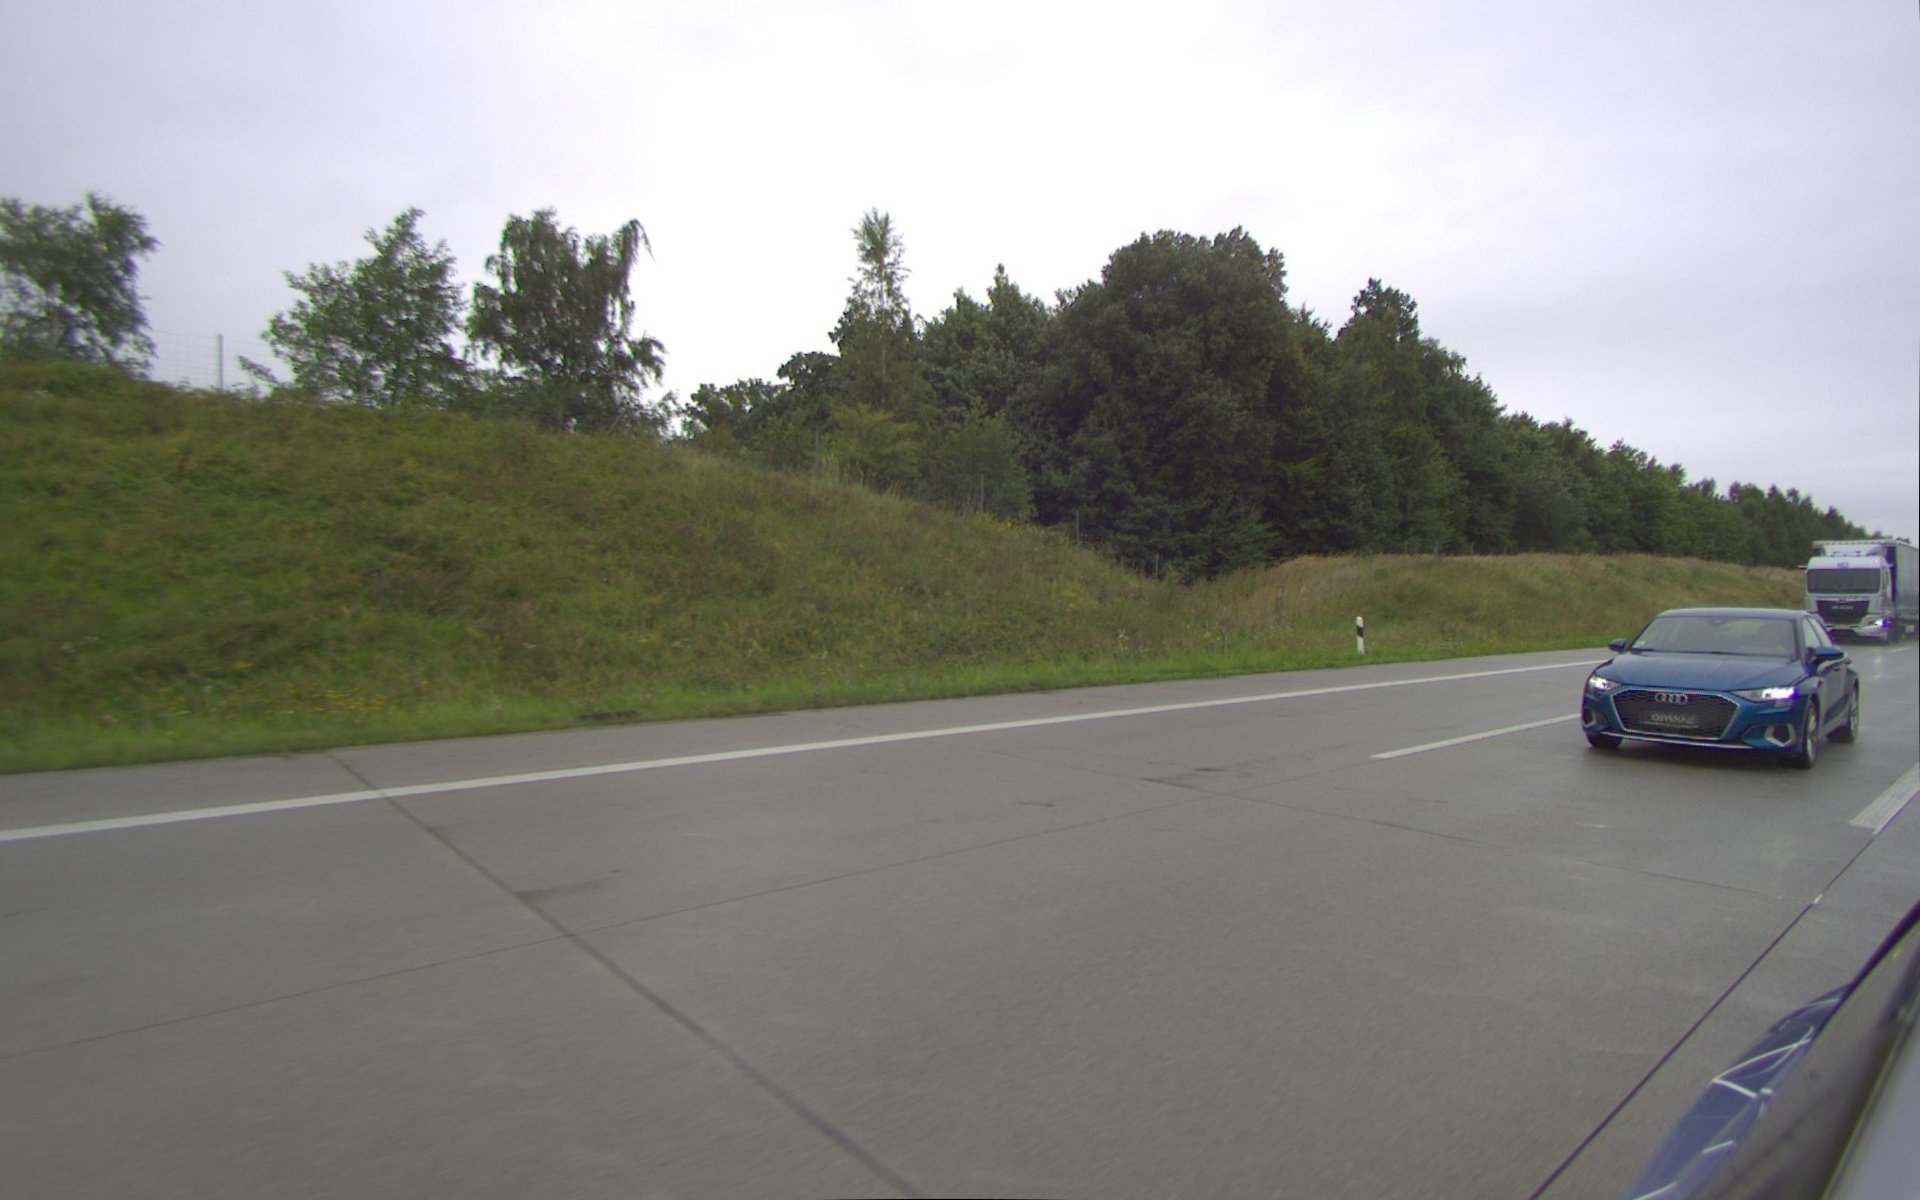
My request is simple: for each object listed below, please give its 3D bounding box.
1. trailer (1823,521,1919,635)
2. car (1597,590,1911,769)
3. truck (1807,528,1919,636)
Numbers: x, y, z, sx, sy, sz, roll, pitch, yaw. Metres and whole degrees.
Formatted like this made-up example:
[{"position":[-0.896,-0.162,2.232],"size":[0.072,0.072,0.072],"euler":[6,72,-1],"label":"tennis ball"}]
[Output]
[{"position":[41.987,-0.758,45.405],"size":[14.936,4.436,2.711],"euler":[1,-1,-41],"label":"trailer"},{"position":[8.474,0.655,10.638],"size":[4.590,1.477,1.733],"euler":[0,1,-41],"label":"car"},{"position":[36.236,-0.635,40.508],"size":[5.584,4.005,2.641],"euler":[1,-1,-40],"label":"truck"}]
